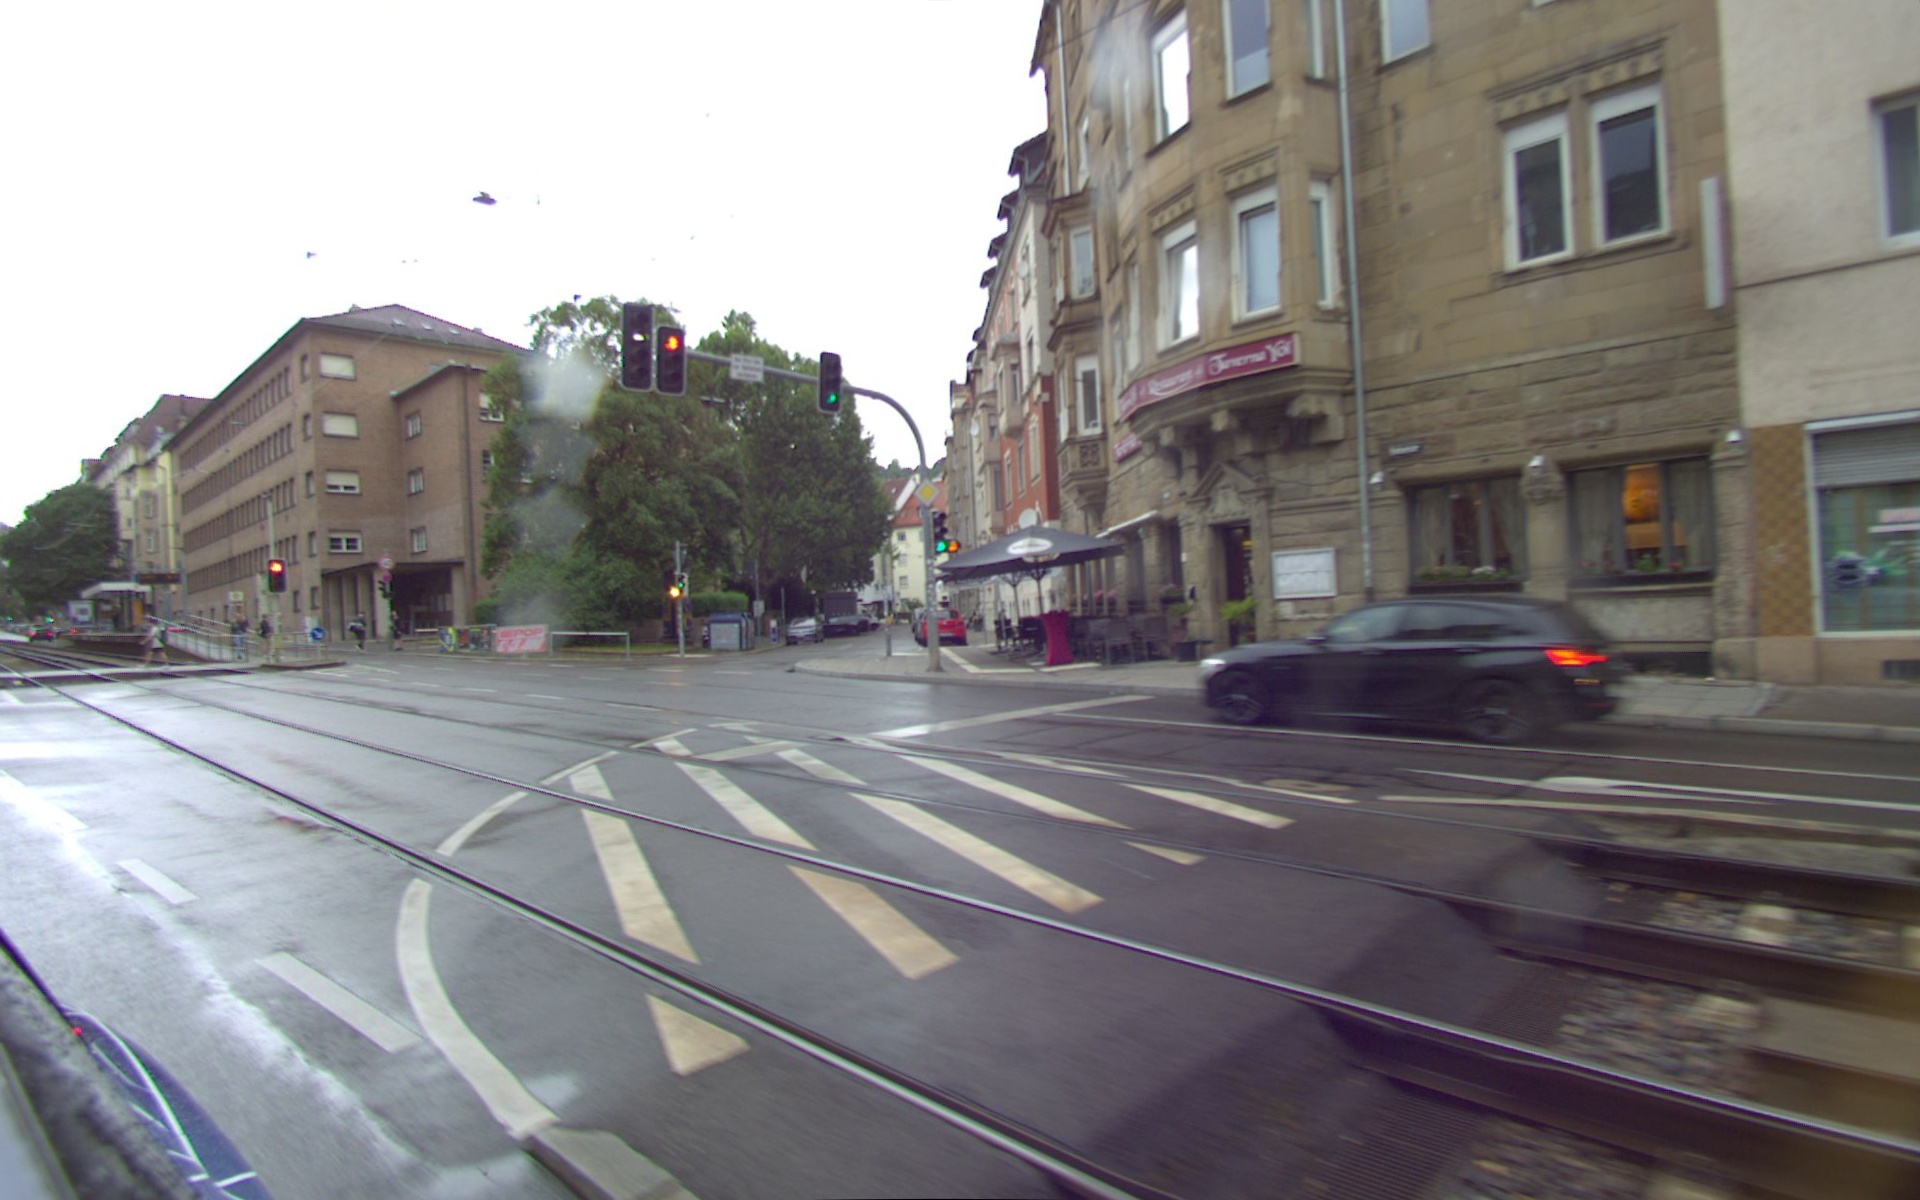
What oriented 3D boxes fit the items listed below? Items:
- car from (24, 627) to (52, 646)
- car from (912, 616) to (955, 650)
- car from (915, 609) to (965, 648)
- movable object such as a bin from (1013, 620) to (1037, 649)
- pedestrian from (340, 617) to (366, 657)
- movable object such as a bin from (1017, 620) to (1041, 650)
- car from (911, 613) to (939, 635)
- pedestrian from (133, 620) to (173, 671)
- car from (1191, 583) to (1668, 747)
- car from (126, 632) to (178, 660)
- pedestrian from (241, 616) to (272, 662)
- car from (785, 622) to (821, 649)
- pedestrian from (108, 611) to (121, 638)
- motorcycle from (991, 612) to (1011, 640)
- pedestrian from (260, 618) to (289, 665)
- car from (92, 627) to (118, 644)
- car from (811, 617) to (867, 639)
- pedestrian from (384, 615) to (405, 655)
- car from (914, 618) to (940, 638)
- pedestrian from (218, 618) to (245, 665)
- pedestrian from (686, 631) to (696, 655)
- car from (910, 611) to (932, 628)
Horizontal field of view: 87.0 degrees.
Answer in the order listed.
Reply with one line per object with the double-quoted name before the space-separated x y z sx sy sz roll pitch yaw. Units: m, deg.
"car" -99.929 3.955 109.712 4.001 2.029 1.971 -2 -2 44
"car" -1.221 1.452 45.169 1.716 1.413 4.172 -1 -1 -4
"car" -0.827 1.108 39.922 1.716 1.413 4.004 -1 -1 -4
"movable object such as a bin" 2.397 1.265 37.250 0.709 1.050 0.552 0 -1 -15
"pedestrian" -25.516 1.558 42.565 0.649 1.663 0.756 -2 -1 43
"movable object such as a bin" 2.498 1.256 36.659 0.709 1.050 0.552 0 -1 -15
"car" -2.752 1.906 79.685 1.970 1.643 4.004 -1 -1 -5
"pedestrian" -25.764 1.445 32.335 0.683 1.595 0.959 -1 -1 -17
"car" 4.867 0.627 10.914 4.276 1.407 1.926 -2 -2 45
"car" -52.397 2.950 65.602 5.255 1.640 1.971 -1 -2 44
"pedestrian" -26.913 1.486 38.704 0.883 1.709 0.736 -1 1 43
"car" -8.767 1.948 56.727 1.716 1.413 4.004 -1 -1 -4
"pedestrian" -54.782 1.611 65.545 0.491 1.722 0.580 -2 -2 43
"motorcycle" 1.947 1.239 48.019 0.738 1.265 1.860 -1 -1 -3
"pedestrian" -25.094 1.511 37.066 0.641 1.659 0.735 0 1 45
"car" -78.816 3.300 93.252 1.625 1.477 3.113 -1 -1 -44
"car" -8.733 2.030 73.198 3.942 1.489 1.743 -1 -1 -2
"pedestrian" -23.690 1.459 42.411 0.688 1.688 0.597 -2 -2 41
"car" -2.408 2.021 73.692 1.716 1.413 4.004 -1 -1 -4
"pedestrian" -27.396 1.544 38.069 0.688 1.711 0.657 -1 1 41
"pedestrian" -12.279 1.966 46.130 0.411 1.093 0.283 0 -1 -22
"car" -3.330 1.671 85.499 1.716 1.413 4.004 -1 -1 -4
